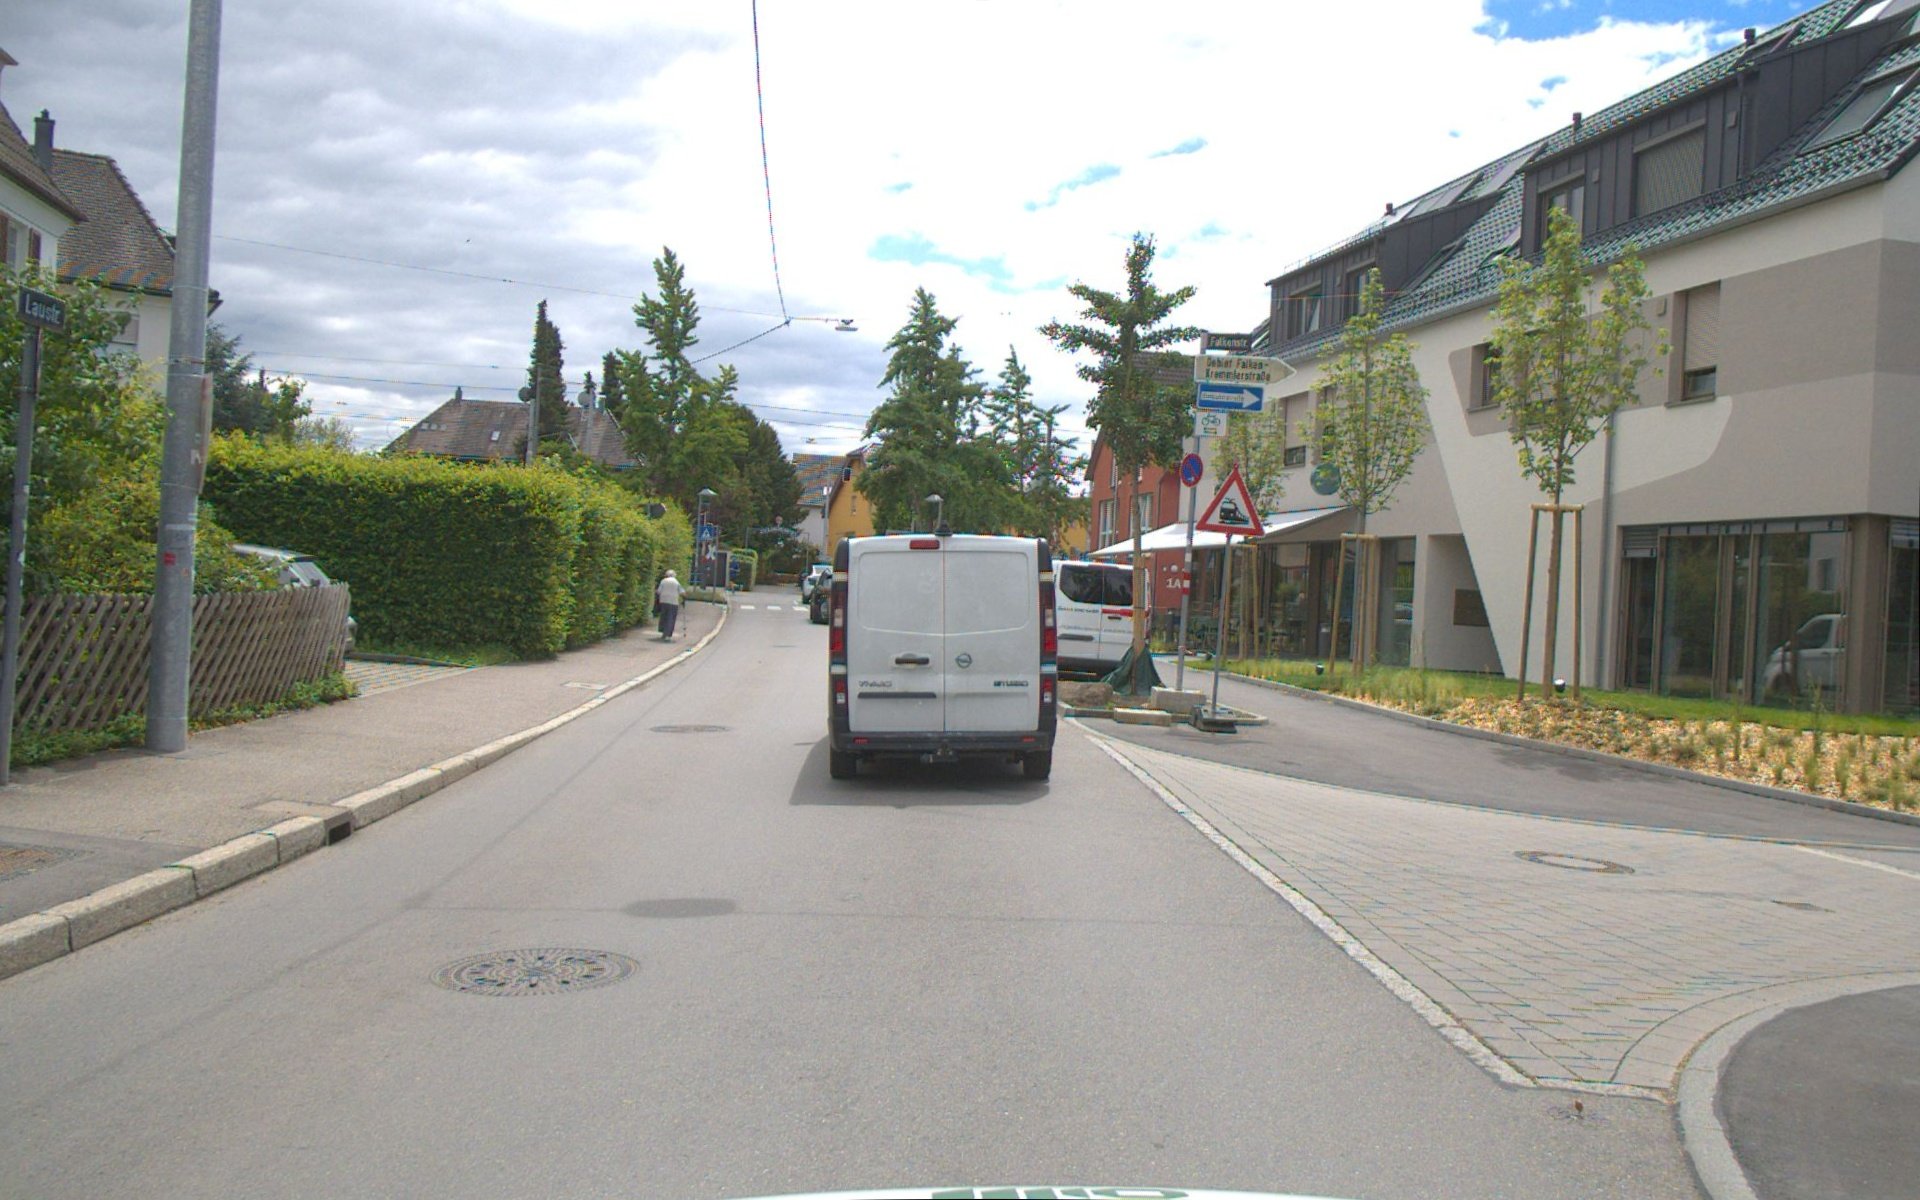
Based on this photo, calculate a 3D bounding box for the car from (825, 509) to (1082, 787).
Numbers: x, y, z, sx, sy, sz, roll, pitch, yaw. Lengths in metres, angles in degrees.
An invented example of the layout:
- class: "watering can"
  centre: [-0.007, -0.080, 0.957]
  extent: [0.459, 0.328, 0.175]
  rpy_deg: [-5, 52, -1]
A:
- class: "car"
  centre: [-0.224, 0.386, 14.740]
  extent: [1.878, 2.038, 4.433]
  rpy_deg: [2, -1, -5]

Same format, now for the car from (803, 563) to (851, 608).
- class: "car"
  centre: [-5.688, -0.603, 70.556]
  extent: [1.955, 1.813, 3.995]
  rpy_deg: [2, 0, -5]

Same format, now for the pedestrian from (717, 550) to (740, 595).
- class: "pedestrian"
  centre: [-10.827, -1.299, 77.388]
  extent: [0.819, 2.048, 0.677]
  rpy_deg: [5, -1, -16]

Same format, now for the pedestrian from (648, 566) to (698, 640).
- class: "pedestrian"
  centre: [-6.206, 0.070, 35.759]
  extent: [0.865, 1.510, 0.452]
  rpy_deg: [5, -1, -25]

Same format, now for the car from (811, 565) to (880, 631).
- class: "car"
  centre: [-3.547, -0.069, 50.837]
  extent: [1.955, 1.880, 3.995]
  rpy_deg: [2, 0, -5]

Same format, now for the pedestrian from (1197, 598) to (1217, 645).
- class: "pedestrian"
  centre: [6.529, 0.571, 43.680]
  extent: [0.413, 1.202, 0.323]
  rpy_deg: [3, 0, -8]

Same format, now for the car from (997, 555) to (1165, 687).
- class: "car"
  centre: [1.985, 0.326, 28.677]
  extent: [1.921, 1.949, 4.895]
  rpy_deg: [5, 0, -6]

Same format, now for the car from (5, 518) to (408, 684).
- class: "car"
  centre: [-8.355, 0.016, 18.619]
  extent: [3.599, 1.459, 1.816]
  rpy_deg: [5, 0, -3]
